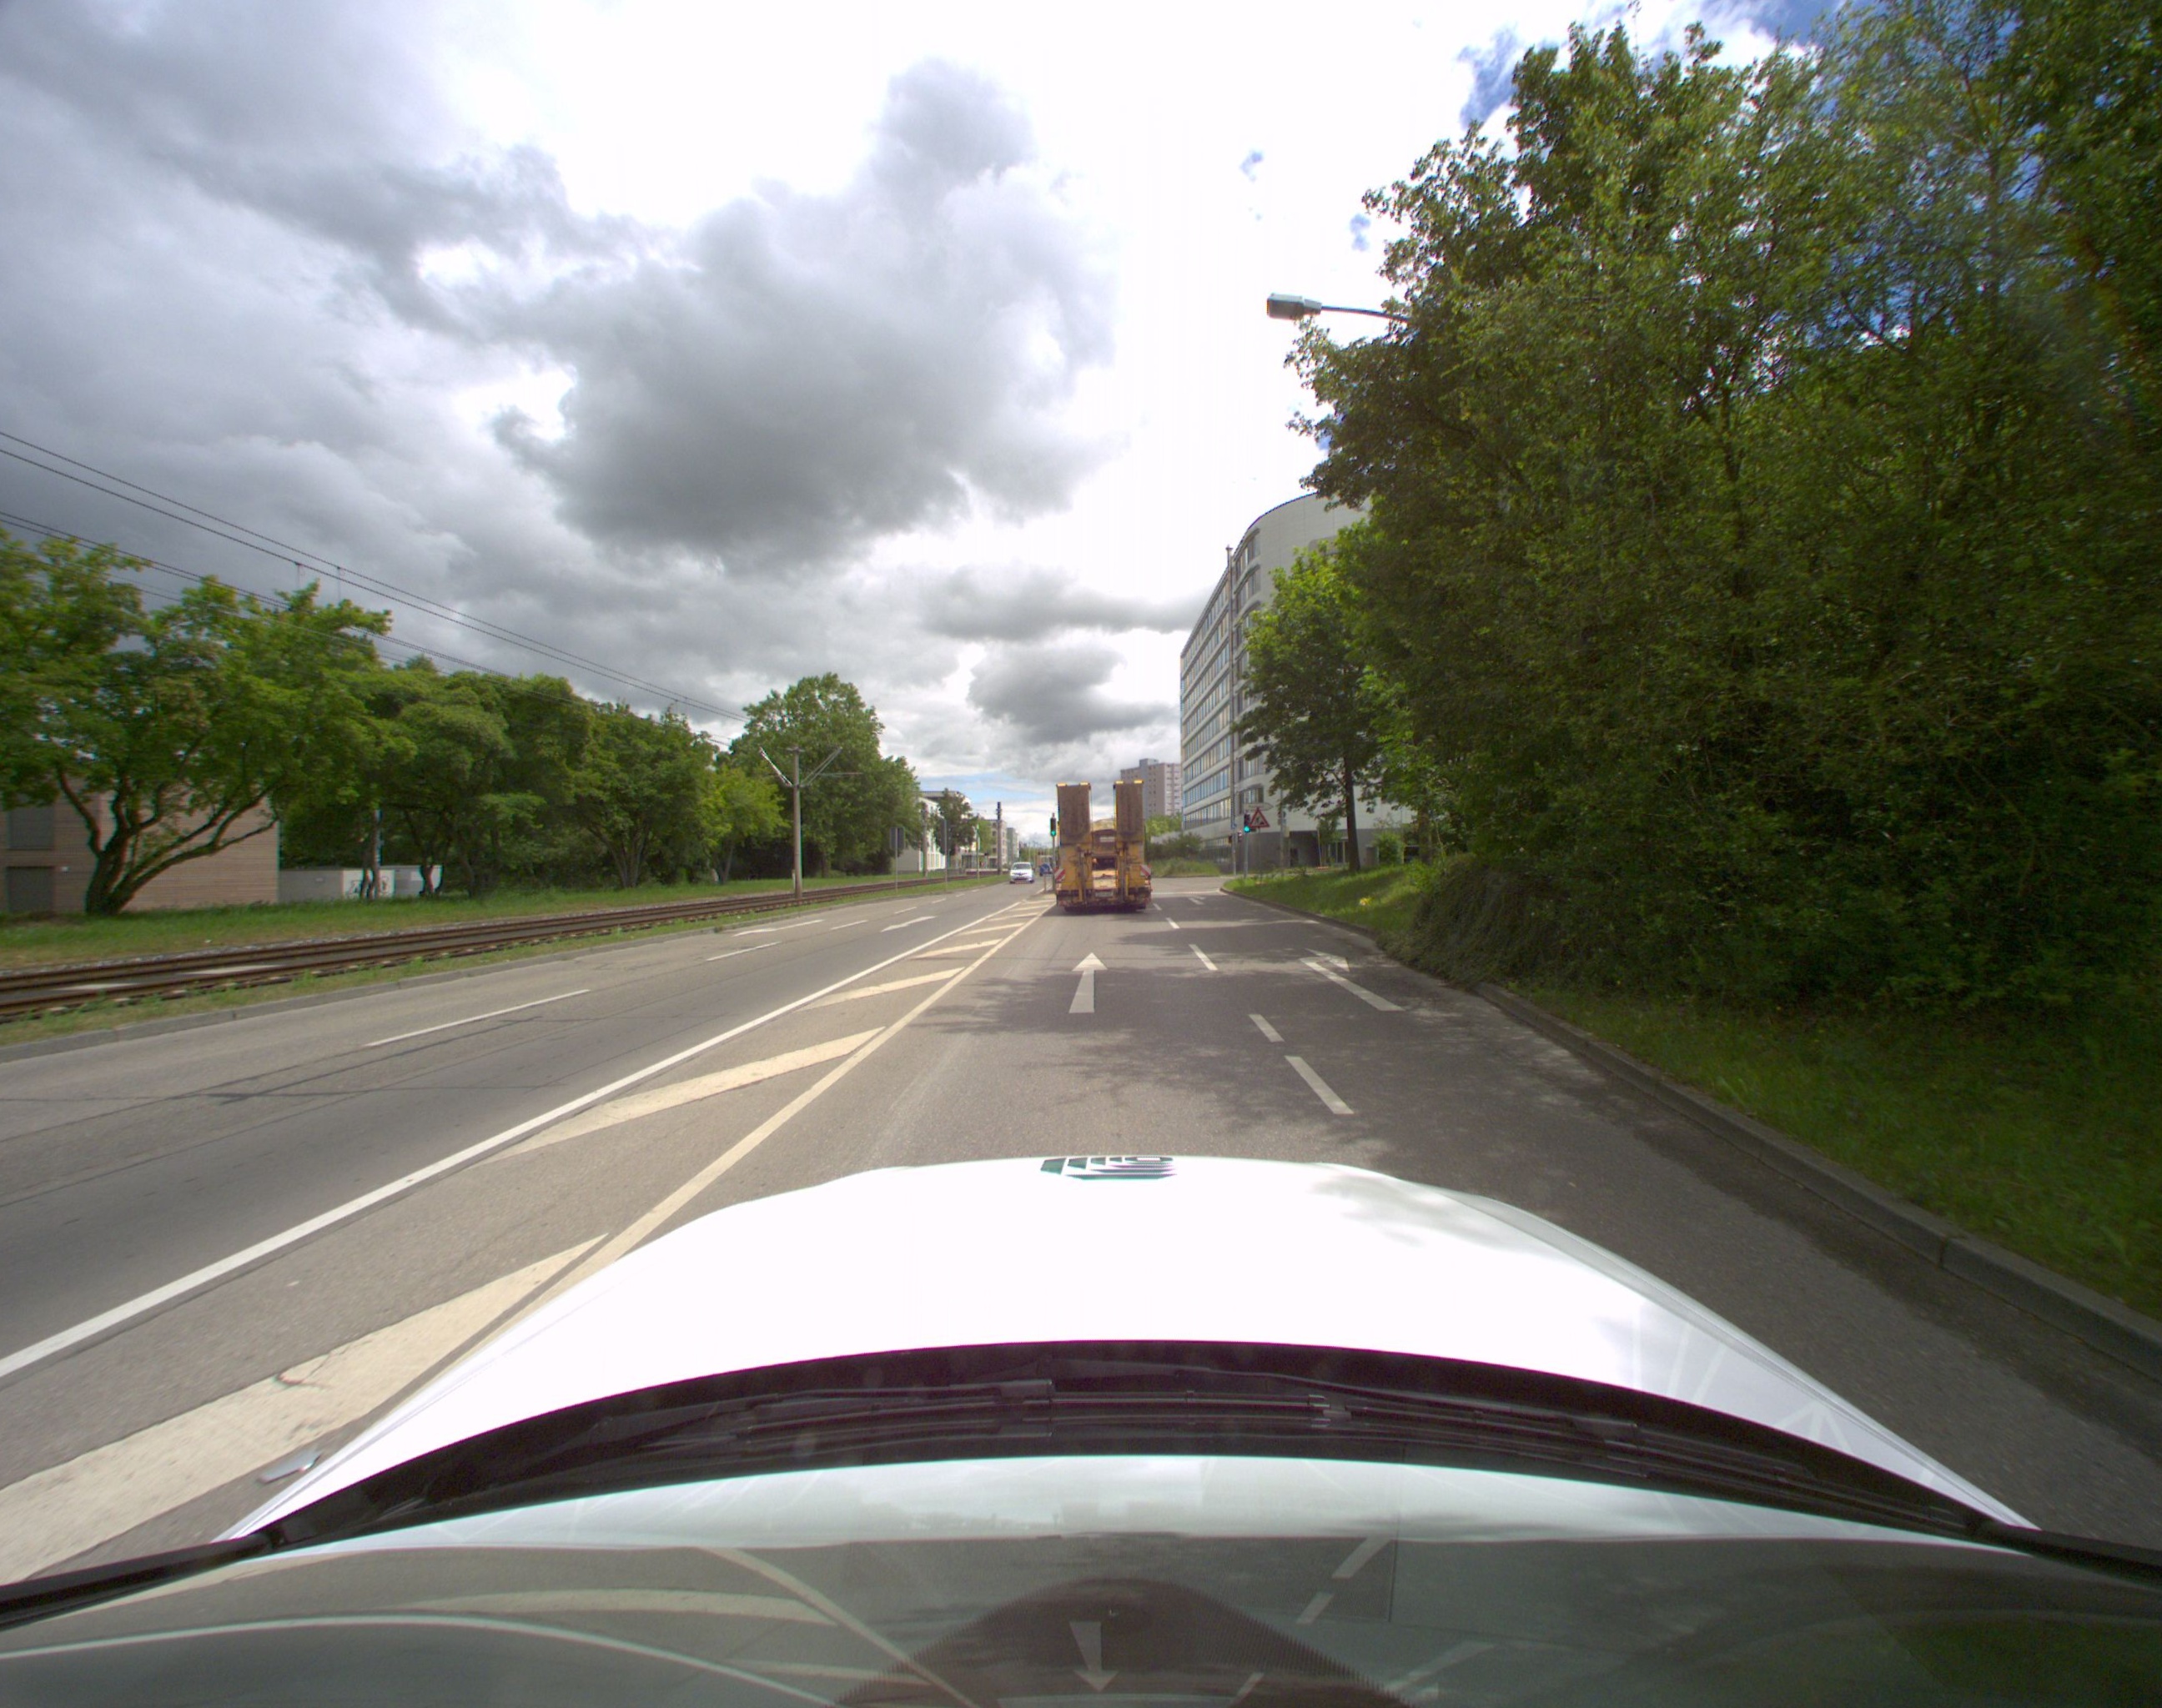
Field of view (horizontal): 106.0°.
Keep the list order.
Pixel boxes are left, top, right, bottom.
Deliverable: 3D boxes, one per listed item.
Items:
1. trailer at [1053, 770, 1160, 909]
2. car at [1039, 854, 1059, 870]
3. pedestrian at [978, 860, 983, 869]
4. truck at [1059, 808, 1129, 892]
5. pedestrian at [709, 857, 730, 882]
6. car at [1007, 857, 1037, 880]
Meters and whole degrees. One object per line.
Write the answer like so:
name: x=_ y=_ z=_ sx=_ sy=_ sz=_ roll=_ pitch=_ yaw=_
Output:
trailer: x=0.606 y=-0.260 z=26.725 sx=2.721 sy=3.559 sz=11.248 roll=-1 pitch=-1 yaw=-1
car: x=-3.749 y=0.927 z=95.828 sx=1.853 sy=1.610 sz=4.611 roll=-2 pitch=1 yaw=2
pedestrian: x=-18.093 y=1.903 z=146.894 sx=0.738 sy=1.531 sz=0.547 roll=-1 pitch=-2 yaw=3
truck: x=0.550 y=-0.059 z=36.499 sx=2.744 sy=3.313 sz=8.349 roll=-1 pitch=-1 yaw=0
pedestrian: x=-28.580 y=1.191 z=64.380 sx=1.030 sy=1.934 sz=1.364 roll=-1 pitch=-1 yaw=1
car: x=-4.276 y=1.103 z=59.758 sx=1.722 sy=1.612 sz=4.265 roll=-1 pitch=-1 yaw=2
